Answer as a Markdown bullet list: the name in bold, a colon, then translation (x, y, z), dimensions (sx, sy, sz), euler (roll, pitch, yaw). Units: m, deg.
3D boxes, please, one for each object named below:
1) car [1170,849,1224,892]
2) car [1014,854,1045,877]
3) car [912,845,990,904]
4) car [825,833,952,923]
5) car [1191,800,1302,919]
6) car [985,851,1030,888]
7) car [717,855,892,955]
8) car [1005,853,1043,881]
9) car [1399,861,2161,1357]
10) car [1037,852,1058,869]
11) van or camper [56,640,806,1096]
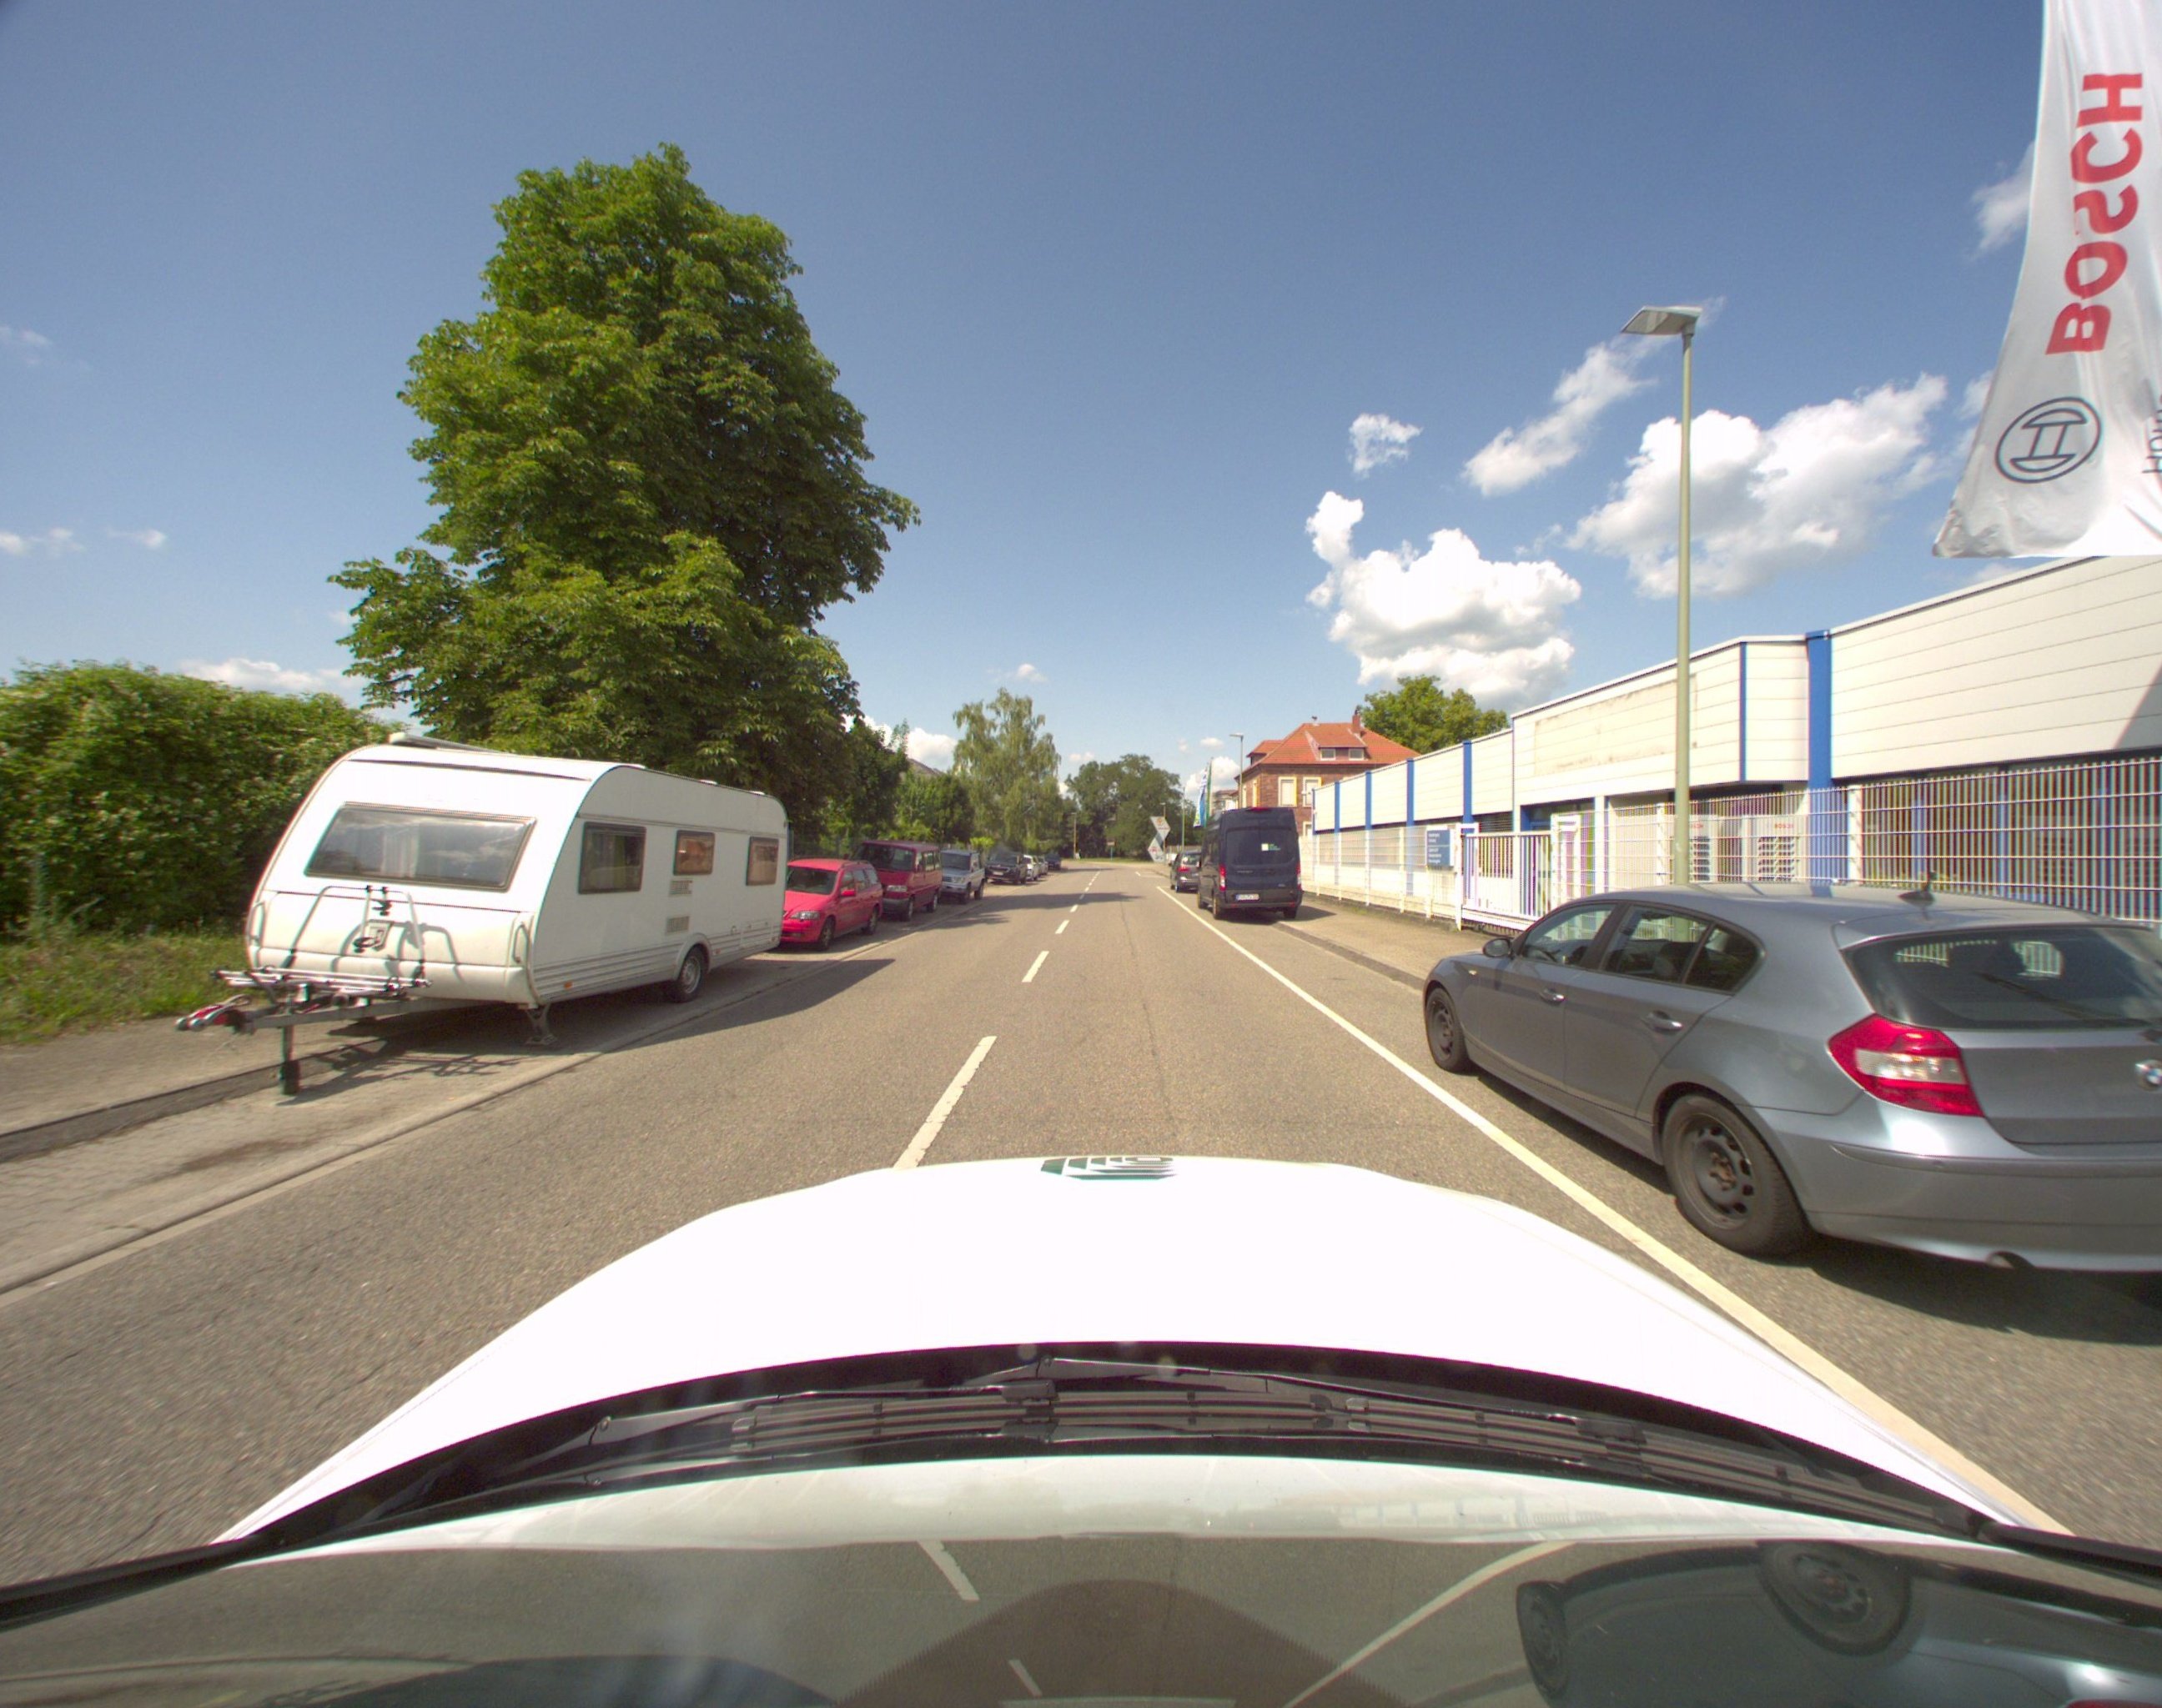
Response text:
- **car**: translation (4.765, 0.639, 34.009), dimensions (1.817, 1.664, 4.559), euler (-1, 0, 3)
- **car**: translation (-3.632, 0.782, 58.220), dimensions (1.787, 1.527, 4.661), euler (0, 0, 2)
- **car**: translation (-4.353, 0.639, 27.874), dimensions (1.692, 1.802, 3.831), euler (4, 0, 4)
- **car**: translation (-4.949, 0.566, 21.768), dimensions (1.891, 1.954, 4.960), euler (5, 0, 2)
- **car**: translation (4.221, 0.124, 21.845), dimensions (1.930, 2.748, 6.157), euler (0, 0, 2)
- **car**: translation (-3.743, 0.752, 42.296), dimensions (1.604, 1.745, 4.641), euler (2, 0, 4)
- **car**: translation (-4.987, 0.827, 15.383), dimensions (1.618, 1.532, 4.271), euler (3, 0, 2)
- **car**: translation (-3.386, 0.725, 48.864), dimensions (1.693, 1.595, 4.791), euler (0, 0, 3)
- **car**: translation (3.339, 0.817, 4.616), dimensions (1.566, 1.507, 4.134), euler (0, 0, 1)
- **car**: translation (-3.136, 0.607, 77.215), dimensions (1.676, 1.512, 4.158), euler (4, 0, 1)
- **van or camper**: translation (-5.340, 0.087, 8.665), dimensions (2.255, 2.803, 6.834), euler (4, 0, 1)
